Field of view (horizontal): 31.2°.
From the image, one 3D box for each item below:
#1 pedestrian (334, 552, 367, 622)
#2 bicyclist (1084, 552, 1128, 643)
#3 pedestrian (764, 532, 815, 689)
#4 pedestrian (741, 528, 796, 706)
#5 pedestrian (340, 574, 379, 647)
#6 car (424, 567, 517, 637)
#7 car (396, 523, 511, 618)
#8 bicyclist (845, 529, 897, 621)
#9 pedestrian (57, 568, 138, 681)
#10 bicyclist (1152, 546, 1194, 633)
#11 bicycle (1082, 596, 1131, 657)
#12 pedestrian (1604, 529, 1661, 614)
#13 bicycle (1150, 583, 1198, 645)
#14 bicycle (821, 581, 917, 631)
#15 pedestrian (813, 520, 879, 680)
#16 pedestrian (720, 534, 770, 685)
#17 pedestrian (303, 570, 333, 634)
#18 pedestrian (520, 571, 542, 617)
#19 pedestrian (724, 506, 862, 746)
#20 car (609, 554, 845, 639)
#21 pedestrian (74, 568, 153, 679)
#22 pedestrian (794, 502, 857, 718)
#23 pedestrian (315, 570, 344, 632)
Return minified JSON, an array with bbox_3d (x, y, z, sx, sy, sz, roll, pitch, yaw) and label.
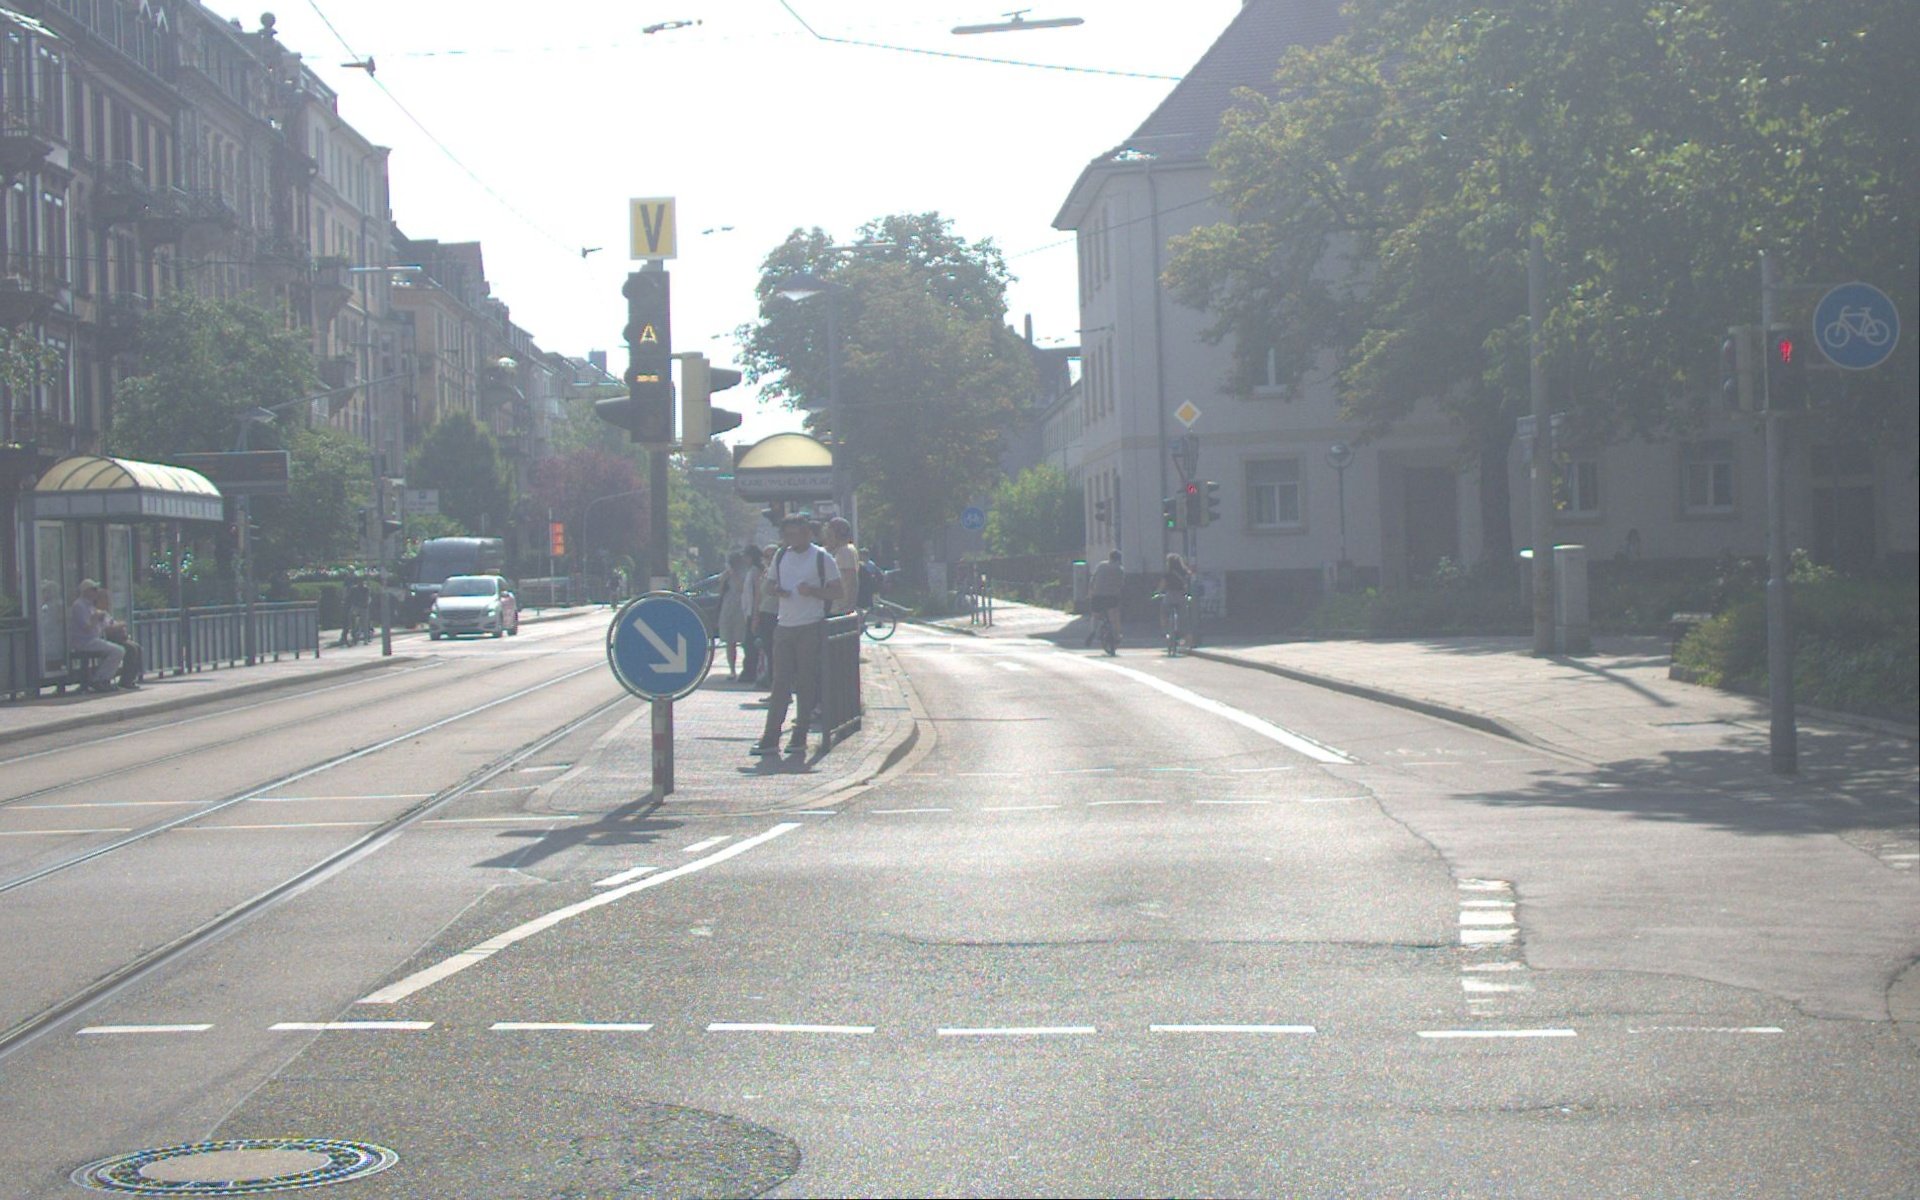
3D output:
[{"bbox_3d":[-15.104,-0.325,85.250,0.750,1.725,0.772,-2,1,-10],"label":"pedestrian"},{"bbox_3d":[2.460,-0.044,57.985,0.629,1.502,0.678,-2,1,-3],"label":"bicyclist"},{"bbox_3d":[-1.948,0.115,39.295,0.543,1.753,0.534,1,3,-1],"label":"pedestrian"},{"bbox_3d":[-1.916,0.163,34.478,0.504,1.753,0.534,1,3,-1],"label":"pedestrian"},{"bbox_3d":[-14.471,0.253,82.817,0.750,1.725,0.771,-2,1,1],"label":"pedestrian"},{"bbox_3d":[-12.262,0.037,86.308,1.801,1.648,3.642,-2,1,0],"label":"car"},{"bbox_3d":[-14.901,-0.879,101.430,2.347,2.653,5.104,-2,1,3],"label":"car"},{"bbox_3d":[-1.833,-0.516,70.848,0.986,1.851,0.493,-2,1,2],"label":"bicyclist"},{"bbox_3d":[-10.547,0.293,42.058,0.827,1.354,0.776,-2,1,-5],"label":"pedestrian"},{"bbox_3d":[3.510,-0.178,56.691,0.558,1.412,0.872,-2,1,-3],"label":"bicyclist"},{"bbox_3d":[2.468,0.438,57.992,0.629,0.974,1.770,-2,1,-3],"label":"bicycle"},{"bbox_3d":[13.856,-0.589,70.798,0.893,1.734,0.775,-1,1,32],"label":"pedestrian"},{"bbox_3d":[3.529,0.216,56.682,0.558,0.974,1.856,-2,1,-3],"label":"bicycle"},{"bbox_3d":[-1.872,0.117,70.854,1.936,0.974,0.496,-2,1,2],"label":"bicycle"},{"bbox_3d":[-1.283,-0.006,38.679,0.709,1.753,0.534,1,3,-1],"label":"pedestrian"},{"bbox_3d":[-2.539,0.105,40.709,0.532,1.753,0.545,1,3,0],"label":"pedestrian"},{"bbox_3d":[-17.566,0.049,94.088,0.750,1.725,0.772,-2,1,-10],"label":"pedestrian"},{"bbox_3d":[-16.351,-0.219,131.014,0.750,1.725,0.772,-2,1,-10],"label":"pedestrian"},{"bbox_3d":[-1.236,0.177,25.514,0.701,1.719,0.747,3,4,32],"label":"pedestrian"},{"bbox_3d":[-4.626,-0.076,68.583,4.323,1.564,1.999,-1,1,8],"label":"car"},{"bbox_3d":[-10.593,0.284,43.035,0.827,1.354,0.776,-2,1,-5],"label":"pedestrian"},{"bbox_3d":[-1.163,0.080,29.780,0.504,1.827,0.534,1,3,-1],"label":"pedestrian"},{"bbox_3d":[-17.786,0.021,96.915,0.750,1.725,0.772,-2,1,-10],"label":"pedestrian"}]
